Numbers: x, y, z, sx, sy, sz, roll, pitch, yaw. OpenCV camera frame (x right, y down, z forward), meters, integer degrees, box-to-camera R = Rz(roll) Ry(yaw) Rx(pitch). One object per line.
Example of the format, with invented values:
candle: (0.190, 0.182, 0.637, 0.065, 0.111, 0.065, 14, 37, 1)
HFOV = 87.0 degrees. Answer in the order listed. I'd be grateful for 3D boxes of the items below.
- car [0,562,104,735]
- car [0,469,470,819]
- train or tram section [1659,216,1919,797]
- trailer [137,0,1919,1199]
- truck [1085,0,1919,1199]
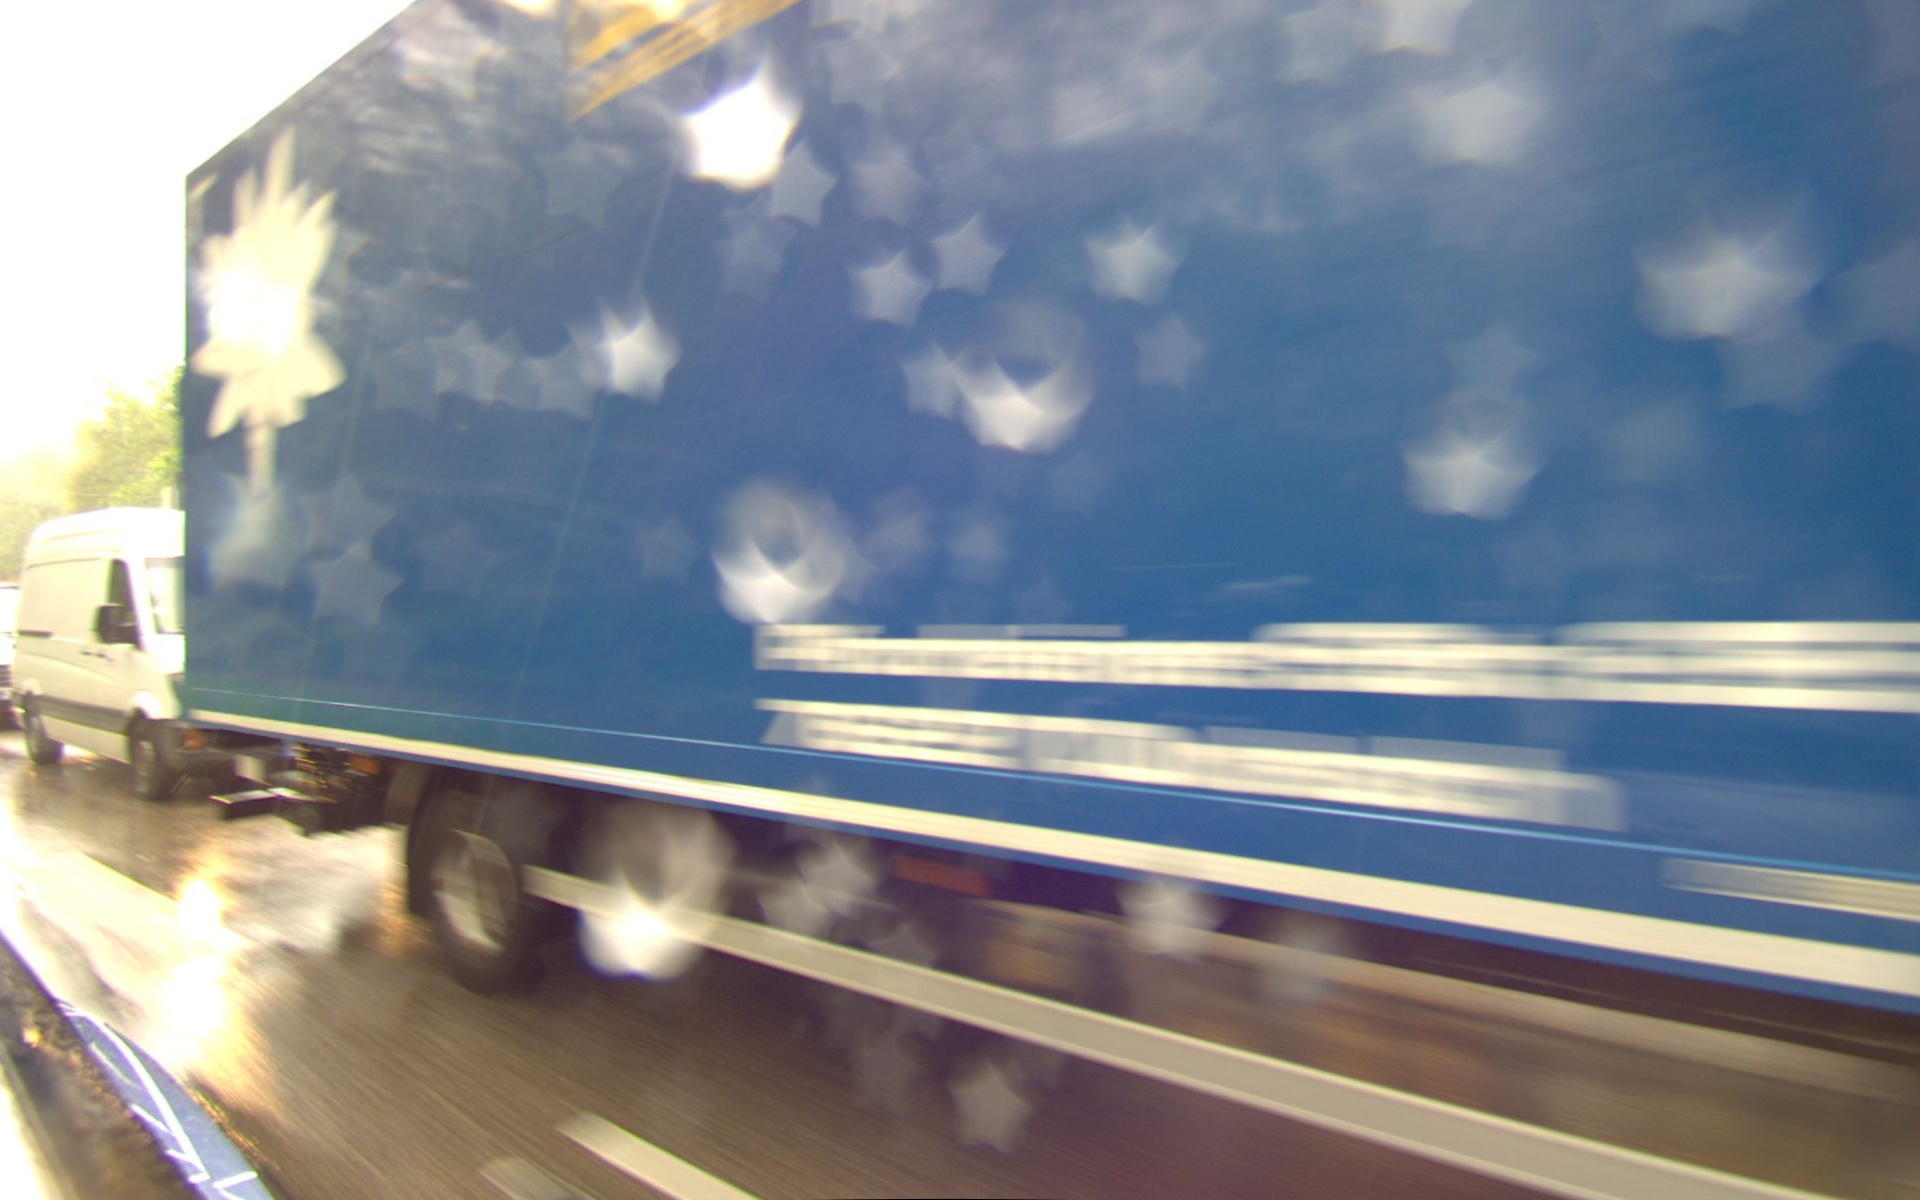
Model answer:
car: (-14.646, 0.640, 14.980, 5.281, 2.279, 1.975, 0, 0, 38)
car: (-7.613, 0.321, 10.261, 6.105, 2.576, 2.308, 0, 0, 38)
train or tram section: (8.753, -0.599, 5.126, 8.415, 3.311, 2.952, -2, -3, 37)
trailer: (-0.671, -0.495, 4.300, 7.621, 3.929, 2.567, -1, -1, 37)
truck: (2.611, -0.578, 1.871, 3.992, 3.934, 2.558, -2, -1, 36)
